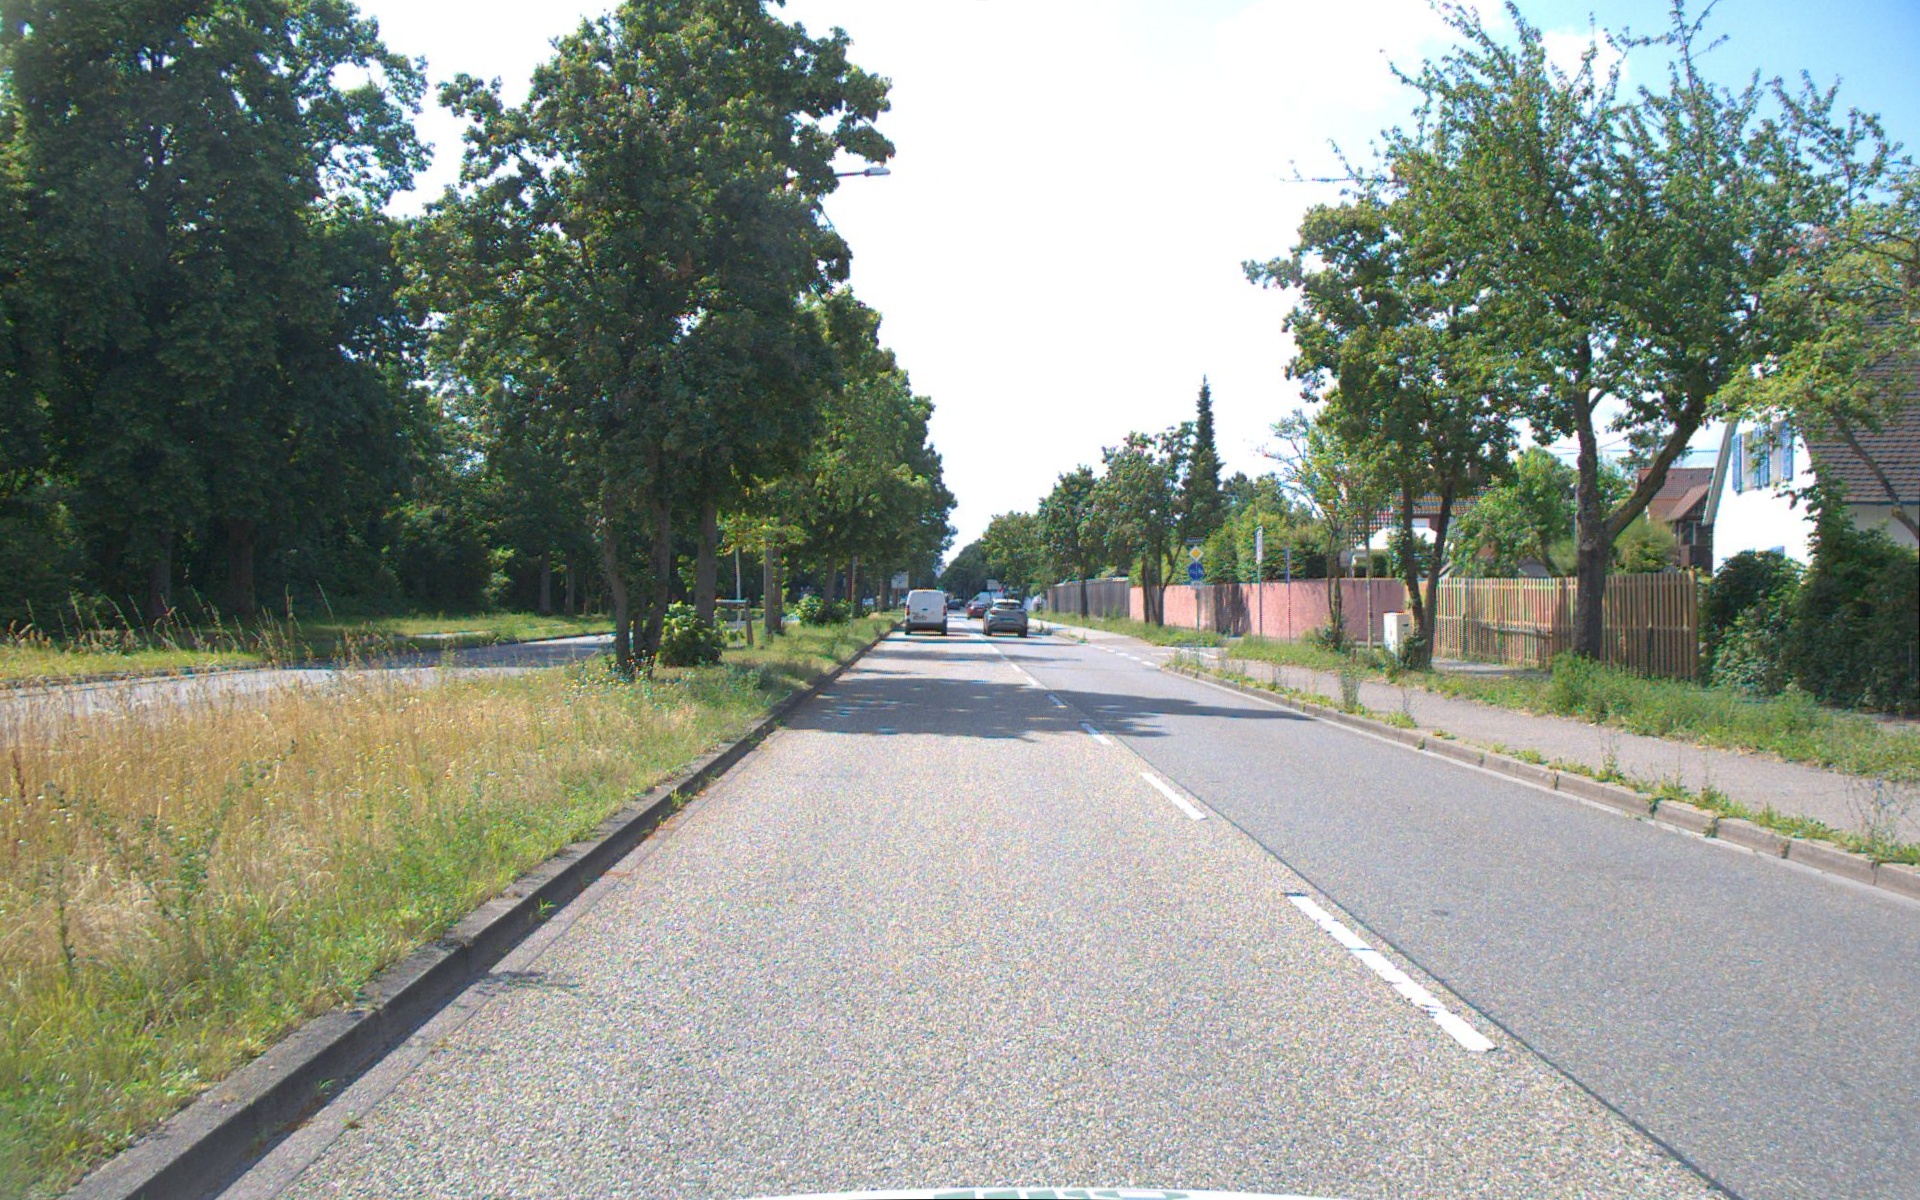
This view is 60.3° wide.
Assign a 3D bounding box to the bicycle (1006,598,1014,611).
[{"bbox_3d":[4.457,0.375,147.007,0.633,1.086,2.278,-2,0,0],"label":"bicycle"}]

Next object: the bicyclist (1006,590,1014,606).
[{"bbox_3d":[4.442,-0.188,147.090,0.641,1.436,0.986,-2,0,0],"label":"bicyclist"}]

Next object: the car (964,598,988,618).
[{"bbox_3d":[1.266,0.635,132.953,1.842,1.615,3.999,1,0,-1],"label":"car"}]

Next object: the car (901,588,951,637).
[{"bbox_3d":[-1.403,0.508,69.385,2.024,1.945,4.645,1,0,-1],"label":"car"}]

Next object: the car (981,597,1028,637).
[{"bbox_3d":[1.866,0.712,70.695,1.837,1.617,4.184,1,0,-1],"label":"car"}]

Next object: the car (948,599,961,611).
[{"bbox_3d":[-0.843,0.733,246.776,1.953,1.803,4.146,2,0,-1],"label":"car"}]

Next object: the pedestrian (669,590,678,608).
[{"bbox_3d":[-26.297,-0.081,151.704,0.631,1.658,0.656,2,0,0],"label":"pedestrian"}]
